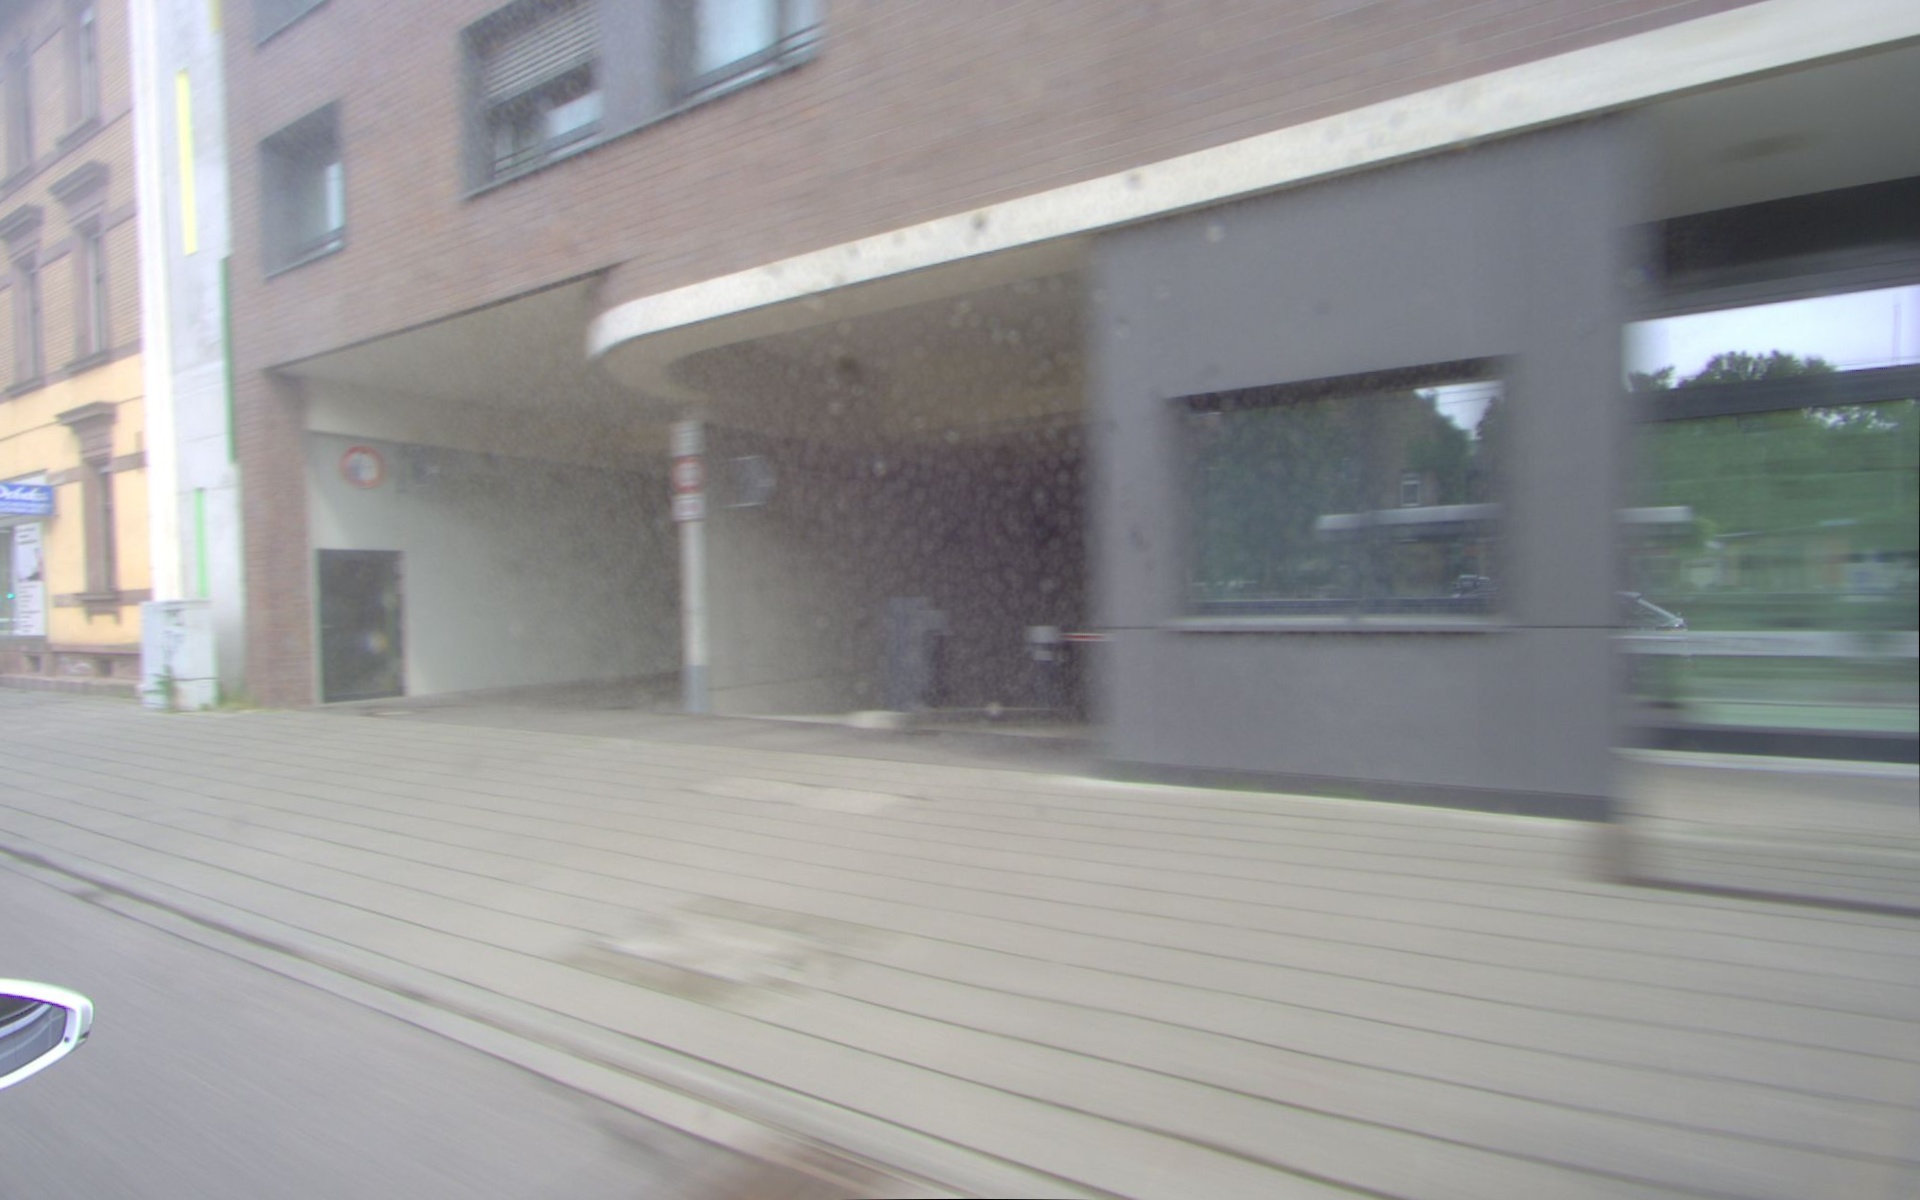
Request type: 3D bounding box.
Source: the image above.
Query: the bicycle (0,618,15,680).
[{"bbox_3d":[-18.552,0.965,18.251,0.633,1.145,1.773,0,3,31],"label":"bicycle"}]
